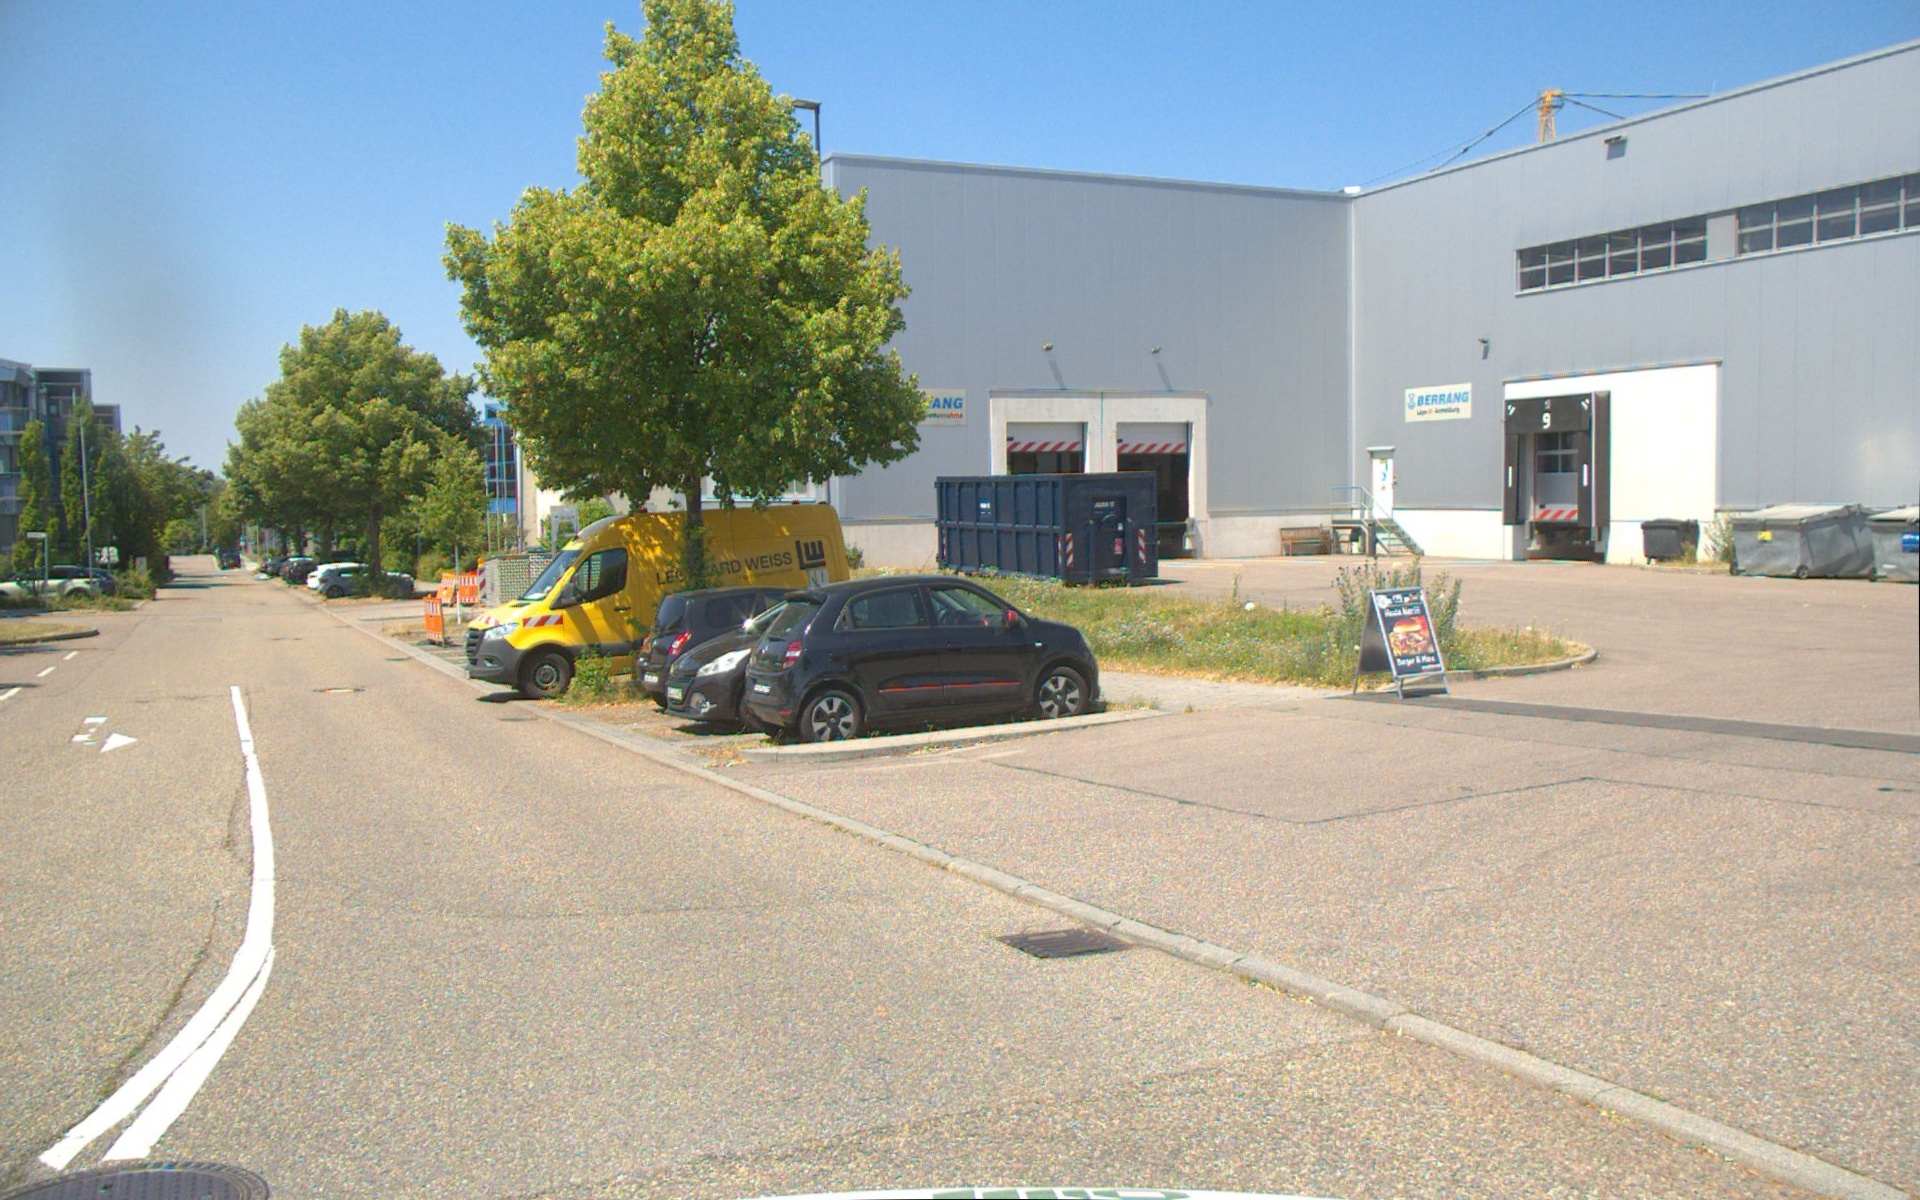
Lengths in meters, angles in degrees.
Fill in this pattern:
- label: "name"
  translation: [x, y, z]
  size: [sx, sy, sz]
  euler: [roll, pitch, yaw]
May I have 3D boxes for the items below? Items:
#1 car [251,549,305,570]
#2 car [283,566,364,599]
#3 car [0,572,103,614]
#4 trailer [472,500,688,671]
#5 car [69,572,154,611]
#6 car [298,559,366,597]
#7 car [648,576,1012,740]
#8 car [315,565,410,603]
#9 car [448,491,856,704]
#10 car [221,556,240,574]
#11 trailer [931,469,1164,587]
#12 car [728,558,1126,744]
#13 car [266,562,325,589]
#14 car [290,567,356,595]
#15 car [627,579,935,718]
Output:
- label: "car"
  translation: [-56.529, -3.349, 137.057]
  size: [3.895, 1.604, 1.748]
  euler: [-2, 5, -33]
- label: "car"
  translation: [-31.090, -0.868, 80.786]
  size: [3.480, 1.377, 1.523]
  euler: [-5, 3, -30]
- label: "car"
  translation: [-34.756, -0.277, 62.662]
  size: [3.999, 1.521, 1.713]
  euler: [-2, 2, -28]
- label: "trailer"
  translation: [-7.495, -0.341, 32.128]
  size: [2.627, 2.906, 5.469]
  euler: [-4, 3, -28]
- label: "car"
  translation: [-34.799, -0.359, 67.843]
  size: [3.028, 1.504, 1.279]
  euler: [-1, 1, -32]
- label: "car"
  translation: [-37.407, -1.342, 98.522]
  size: [3.675, 2.147, 1.799]
  euler: [-2, 2, -26]
- label: "car"
  translation: [-1.434, 0.574, 18.511]
  size: [3.727, 1.533, 1.577]
  euler: [-3, 2, -28]
- label: "car"
  translation: [-26.228, -0.711, 72.637]
  size: [3.641, 1.377, 1.629]
  euler: [-5, 3, -30]
- label: "car"
  translation: [-4.636, -0.150, 25.220]
  size: [5.712, 2.779, 1.983]
  euler: [-4, 4, -27]
- label: "car"
  translation: [-75.413, -3.643, 170.942]
  size: [1.738, 1.786, 3.915]
  euler: [-1, 2, -24]
- label: "trailer"
  translation: [1.874, -1.832, 39.339]
  size: [2.623, 2.461, 7.367]
  euler: [-1, 5, -23]
- label: "car"
  translation: [-0.323, 0.439, 16.642]
  size: [3.615, 1.487, 1.614]
  euler: [-4, 2, -25]
- label: "car"
  translation: [-50.731, -1.915, 126.263]
  size: [3.895, 1.866, 1.748]
  euler: [-2, 5, -33]
- label: "car"
  translation: [-39.161, -1.191, 101.685]
  size: [3.675, 1.655, 1.799]
  euler: [-2, 2, -26]
- label: "car"
  translation: [-2.269, 0.558, 21.064]
  size: [3.560, 1.504, 1.614]
  euler: [-3, 2, -27]
